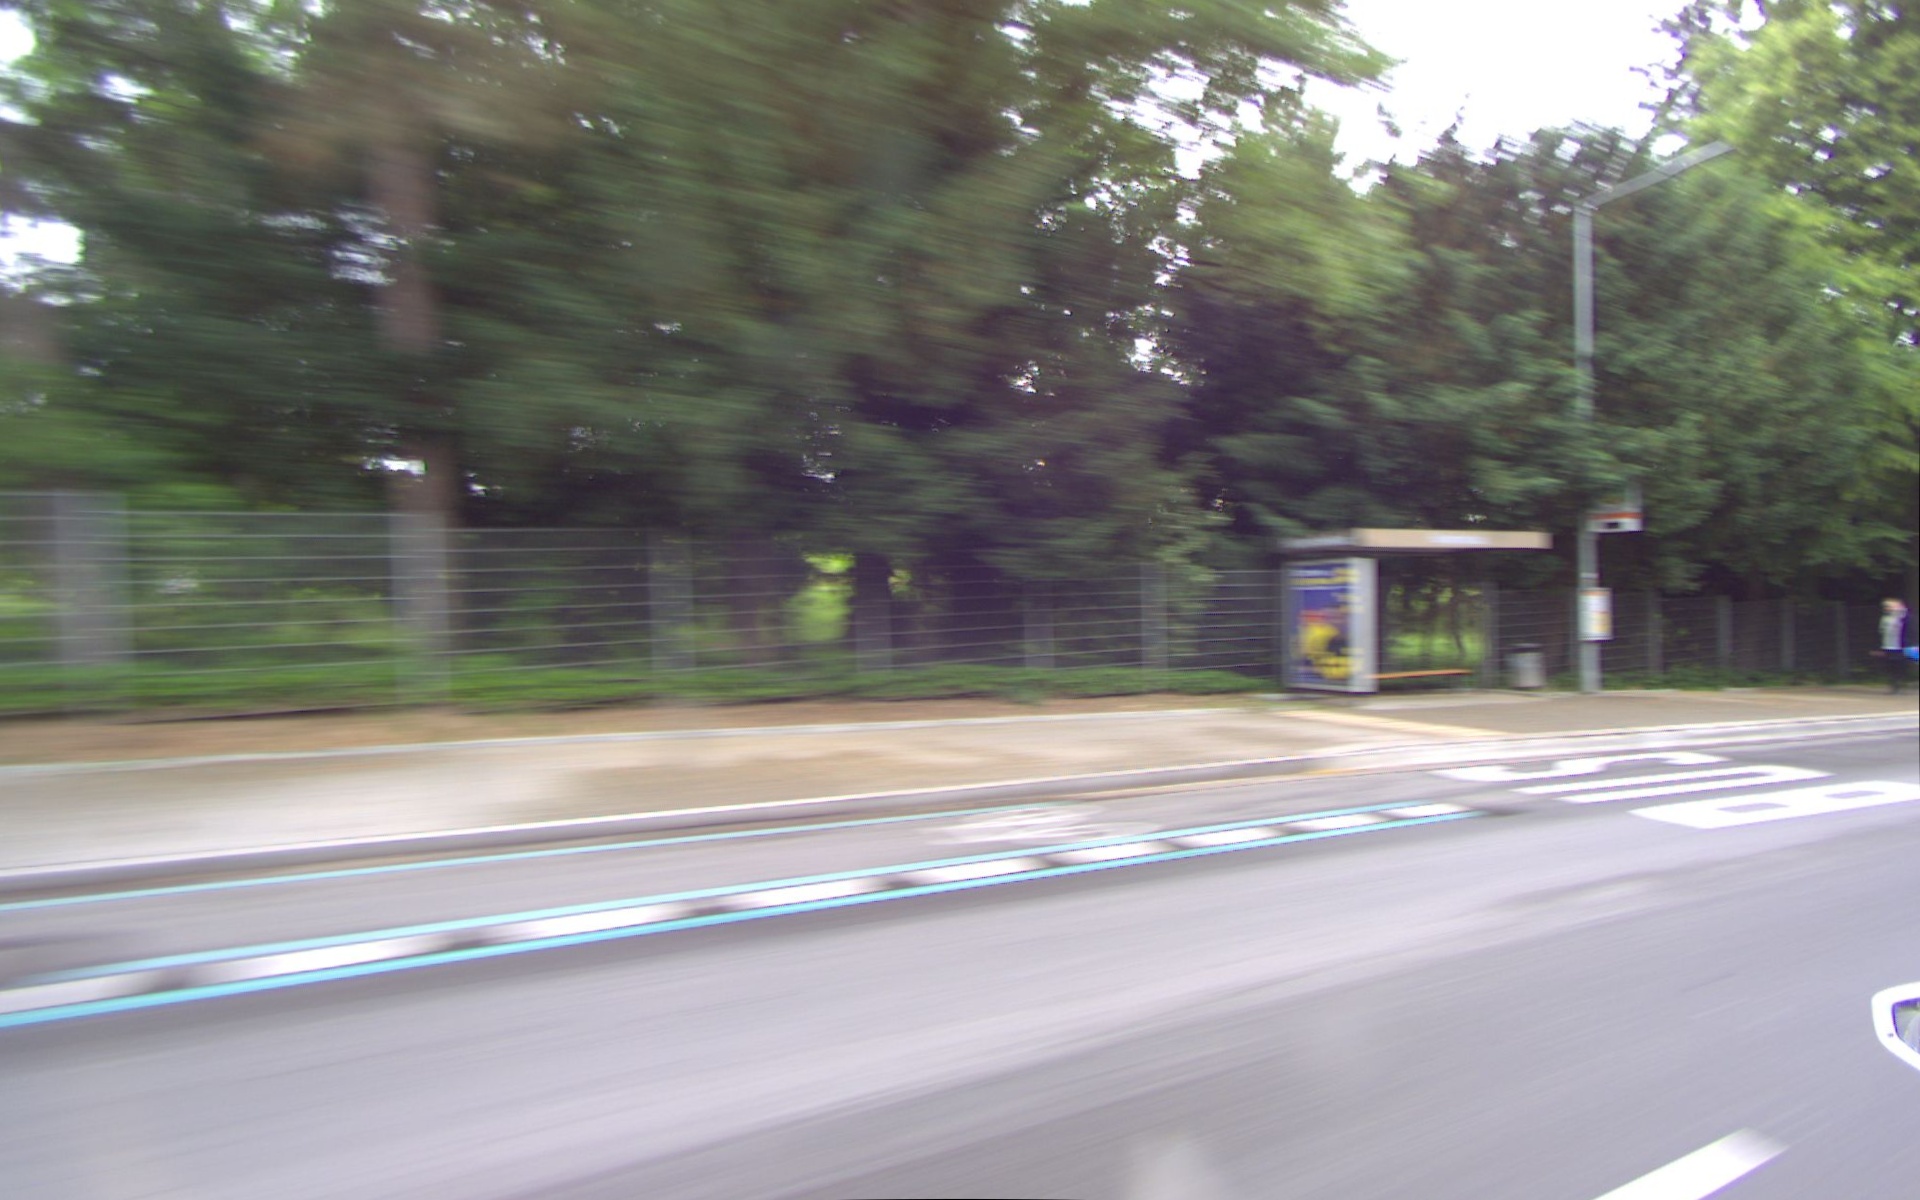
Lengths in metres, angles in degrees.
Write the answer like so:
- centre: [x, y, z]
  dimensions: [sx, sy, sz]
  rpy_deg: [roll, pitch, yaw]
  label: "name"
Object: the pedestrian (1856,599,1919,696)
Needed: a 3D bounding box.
- centre: [17.655, 0.873, 18.887]
  dimensions: [1.132, 1.756, 0.883]
  rpy_deg: [1, 0, -30]
  label: "pedestrian"
